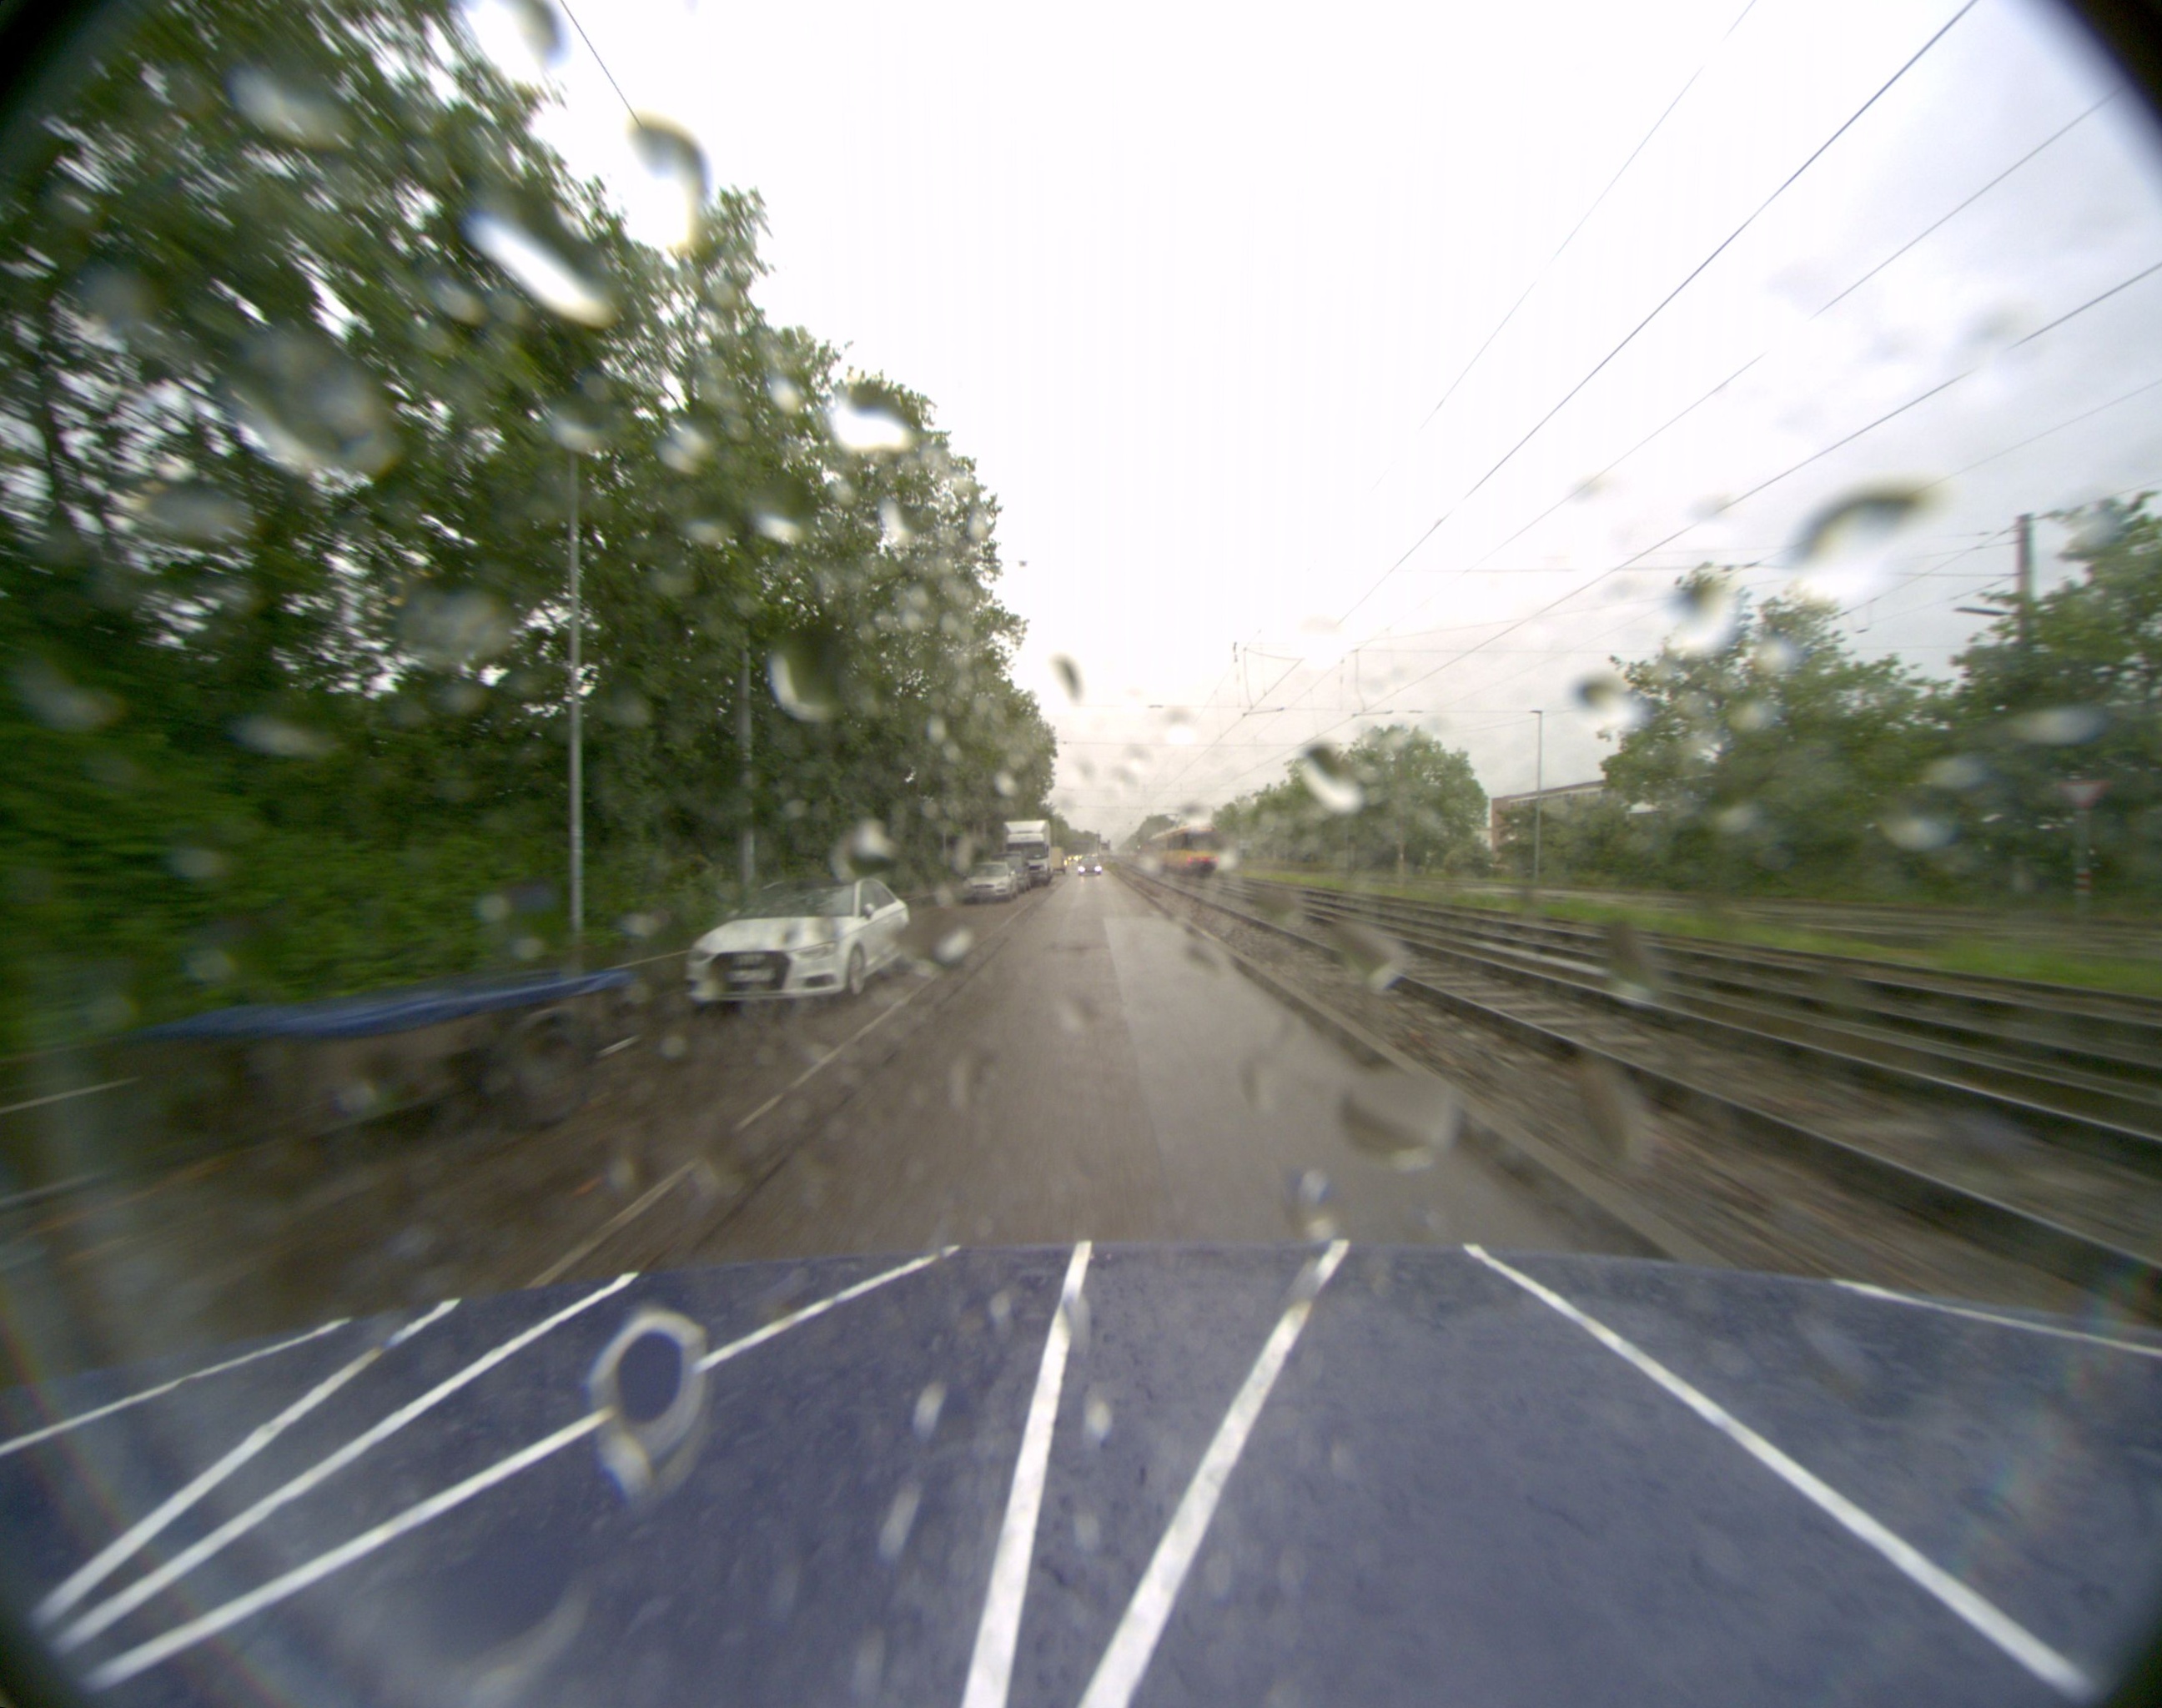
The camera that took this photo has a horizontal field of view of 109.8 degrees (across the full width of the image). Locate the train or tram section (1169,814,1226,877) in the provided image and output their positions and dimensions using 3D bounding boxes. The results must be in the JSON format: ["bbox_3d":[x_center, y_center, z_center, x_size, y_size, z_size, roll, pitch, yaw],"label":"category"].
[{"bbox_3d":[8.399,-0.624,55.933,2.817,4.126,10.268,-2,1,2],"label":"train or tram section"}]

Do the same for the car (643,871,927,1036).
[{"bbox_3d":[-3.455,1.062,9.936,1.824,1.477,4.481,-3,0,1],"label":"car"}]

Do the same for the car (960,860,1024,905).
[{"bbox_3d":[-3.340,1.028,29.177,1.817,1.451,4.345,-3,1,1],"label":"car"}]

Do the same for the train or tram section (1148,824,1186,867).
[{"bbox_3d":[8.984,-0.838,80.603,2.813,4.125,13.019,-2,0,1],"label":"train or tram section"}]

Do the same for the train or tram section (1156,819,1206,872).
[{"bbox_3d":[8.685,-0.744,67.592,2.813,4.126,13.018,-2,1,1],"label":"train or tram section"}]

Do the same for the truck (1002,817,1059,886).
[{"bbox_3d":[-2.892,-0.213,46.392,2.783,3.683,9.849,-2,1,-1],"label":"truck"}]

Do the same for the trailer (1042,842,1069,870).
[{"bbox_3d":[-2.562,0.118,78.853,2.171,2.741,5.677,-2,1,3],"label":"trailer"}]

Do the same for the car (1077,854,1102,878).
[{"bbox_3d":[0.783,1.025,67.065,1.998,2.002,4.000,-1,0,3],"label":"car"}]

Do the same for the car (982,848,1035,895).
[{"bbox_3d":[-3.375,0.774,36.434,1.881,2.002,4.980,-3,0,1],"label":"car"}]

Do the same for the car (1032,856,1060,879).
[{"bbox_3d":[-2.689,1.033,59.588,1.717,1.520,4.000,-9,0,2],"label":"car"}]

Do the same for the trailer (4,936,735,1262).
[{"bbox_3d":[-4.023,1.285,5.124,1.379,1.040,3.444,-2,0,8],"label":"trailer"}]
